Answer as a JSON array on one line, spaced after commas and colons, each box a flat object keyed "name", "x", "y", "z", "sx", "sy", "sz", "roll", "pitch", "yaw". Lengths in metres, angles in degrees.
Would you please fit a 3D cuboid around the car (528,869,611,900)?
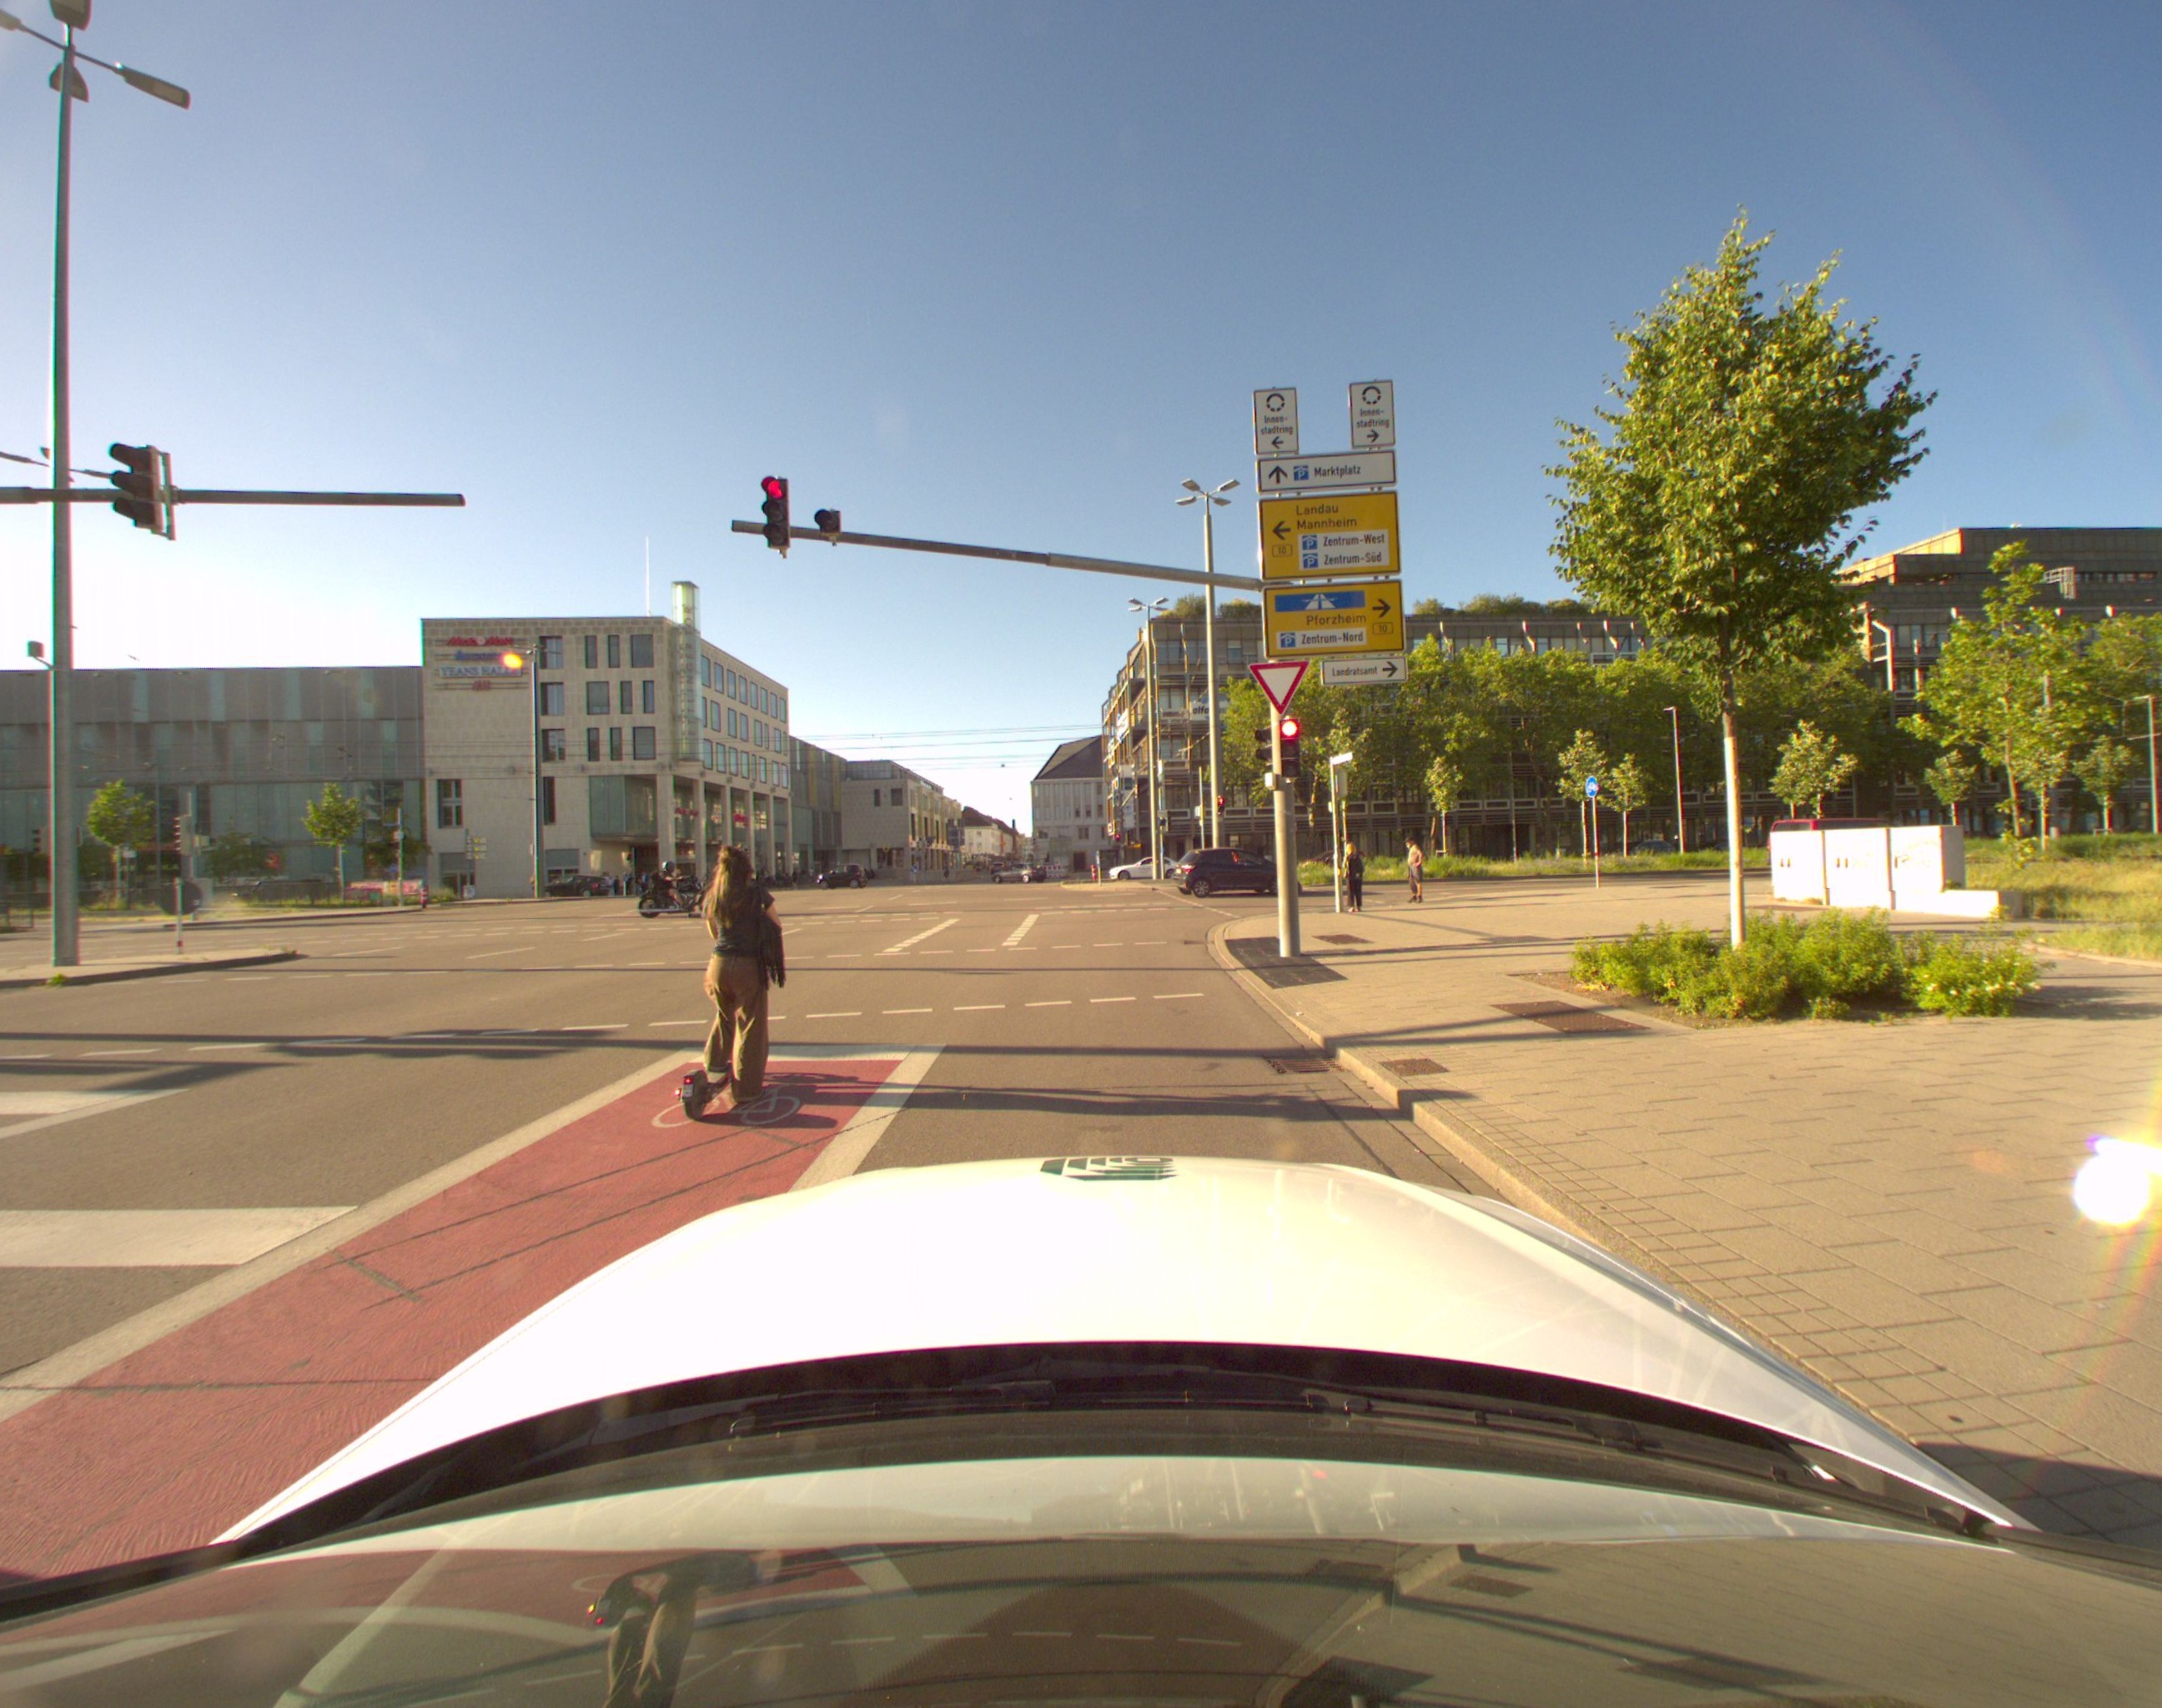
[{"name": "car", "x": -31.514, "y": 1.877, "z": 50.238, "sx": 3.973, "sy": 1.684, "sz": 1.761, "roll": -2, "pitch": 0, "yaw": 0}]

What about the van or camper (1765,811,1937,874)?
[{"name": "van or camper", "x": 27.249, "y": -0.417, "z": 28.882, "sx": 4.830, "sy": 2.013, "sz": 1.999, "roll": -2, "pitch": 0, "yaw": -12}]

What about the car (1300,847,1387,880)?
[{"name": "car", "x": 14.893, "y": 0.516, "z": 46.275, "sx": 4.287, "sy": 1.684, "sz": 1.820, "roll": -2, "pitch": 0, "yaw": -9}]

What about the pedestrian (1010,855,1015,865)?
[{"name": "pedestrian", "x": -13.904, "y": 1.186, "z": 165.264, "sx": 0.907, "sy": 1.965, "sz": 0.823, "roll": 0, "pitch": -1, "yaw": 1}]

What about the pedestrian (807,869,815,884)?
[{"name": "pedestrian", "x": -29.659, "y": 2.472, "z": 89.604, "sx": 0.465, "sy": 1.729, "sz": 0.699, "roll": -1, "pitch": -1, "yaw": 40}]

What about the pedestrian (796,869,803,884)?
[{"name": "pedestrian", "x": -31.708, "y": 2.548, "z": 91.772, "sx": 0.465, "sy": 1.683, "sz": 0.524, "roll": -1, "pitch": -1, "yaw": 40}]

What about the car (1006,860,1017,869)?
[{"name": "car", "x": -12.407, "y": 1.863, "z": 145.473, "sx": 1.652, "sy": 1.458, "sz": 3.543, "roll": -2, "pitch": 0, "yaw": 2}]

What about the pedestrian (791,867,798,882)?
[{"name": "pedestrian", "x": -32.300, "y": 2.331, "z": 91.867, "sx": 0.465, "sy": 1.729, "sz": 0.524, "roll": -1, "pitch": -1, "yaw": 40}]

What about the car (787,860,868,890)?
[{"name": "car", "x": -15.709, "y": 1.301, "z": 50.525, "sx": 4.392, "sy": 1.684, "sz": 1.824, "roll": -2, "pitch": 0, "yaw": -2}]

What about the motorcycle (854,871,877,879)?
[{"name": "motorcycle", "x": -26.113, "y": 2.532, "z": 98.716, "sx": 2.600, "sy": 0.993, "sz": 1.113, "roll": 0, "pitch": -1, "yaw": -8}]

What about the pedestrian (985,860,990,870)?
[{"name": "pedestrian", "x": -18.846, "y": 2.299, "z": 164.249, "sx": 0.907, "sy": 1.964, "sz": 0.823, "roll": -2, "pitch": 0, "yaw": 1}]

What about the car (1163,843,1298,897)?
[{"name": "car", "x": 4.697, "y": 0.476, "z": 25.829, "sx": 3.860, "sy": 1.510, "sz": 1.666, "roll": -2, "pitch": 0, "yaw": -9}]

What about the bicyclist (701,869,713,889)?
[{"name": "bicyclist", "x": -27.687, "y": 1.878, "z": 60.245, "sx": 0.592, "sy": 1.448, "sz": 0.620, "roll": -2, "pitch": 0, "yaw": -44}]

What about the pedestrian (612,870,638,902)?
[{"name": "pedestrian", "x": -25.136, "y": 1.765, "z": 44.912, "sx": 0.821, "sy": 1.675, "sz": 1.004, "roll": -2, "pitch": 0, "yaw": -2}]

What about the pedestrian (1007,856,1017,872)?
[{"name": "pedestrian", "x": -7.693, "y": 1.095, "z": 90.992, "sx": 0.896, "sy": 1.782, "sz": 0.809, "roll": -2, "pitch": 0, "yaw": 1}]

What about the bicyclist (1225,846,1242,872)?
[{"name": "bicyclist", "x": 8.824, "y": 0.306, "z": 47.074, "sx": 0.820, "sy": 1.474, "sz": 0.652, "roll": -2, "pitch": 0, "yaw": -2}]

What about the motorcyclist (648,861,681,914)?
[{"name": "motorcyclist", "x": -11.606, "y": 0.923, "z": 22.700, "sx": 0.658, "sy": 1.423, "sz": 0.645, "roll": -2, "pitch": 1, "yaw": -15}]

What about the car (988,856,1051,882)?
[{"name": "car", "x": -4.254, "y": 1.056, "z": 56.262, "sx": 3.948, "sy": 1.684, "sz": 1.837, "roll": -2, "pitch": 0, "yaw": 33}]

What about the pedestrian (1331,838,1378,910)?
[{"name": "pedestrian", "x": 6.322, "y": 0.452, "z": 18.873, "sx": 0.763, "sy": 1.614, "sz": 0.874, "roll": -2, "pitch": 0, "yaw": 0}]

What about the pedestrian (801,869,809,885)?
[{"name": "pedestrian", "x": -31.287, "y": 2.582, "z": 92.266, "sx": 0.465, "sy": 1.729, "sz": 0.632, "roll": -1, "pitch": -1, "yaw": 30}]

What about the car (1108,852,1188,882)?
[{"name": "car", "x": 4.153, "y": 0.803, "z": 51.005, "sx": 4.830, "sy": 1.684, "sz": 1.825, "roll": -2, "pitch": 0, "yaw": -1}]

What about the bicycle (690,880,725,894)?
[{"name": "bicycle", "x": -27.628, "y": 2.444, "z": 60.289, "sx": 0.629, "sy": 0.903, "sz": 2.231, "roll": -2, "pitch": 0, "yaw": 44}]

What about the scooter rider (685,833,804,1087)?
[{"name": "scooter rider", "x": -2.136, "y": 0.647, "z": 5.211, "sx": 0.552, "sy": 1.530, "sz": 0.448, "roll": -2, "pitch": 0, "yaw": -7}]

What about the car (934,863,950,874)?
[{"name": "car", "x": -20.826, "y": 2.135, "z": 122.202, "sx": 1.652, "sy": 1.458, "sz": 3.543, "roll": -2, "pitch": 0, "yaw": 2}]

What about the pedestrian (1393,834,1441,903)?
[{"name": "pedestrian", "x": 8.675, "y": 0.365, "z": 21.065, "sx": 0.869, "sy": 1.706, "sz": 0.768, "roll": -2, "pitch": 0, "yaw": 0}]

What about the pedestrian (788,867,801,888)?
[{"name": "pedestrian", "x": -22.419, "y": 1.839, "z": 63.731, "sx": 0.773, "sy": 1.638, "sz": 0.627, "roll": -2, "pitch": 0, "yaw": 5}]

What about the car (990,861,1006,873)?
[{"name": "car", "x": -11.019, "y": 1.748, "z": 108.530, "sx": 1.652, "sy": 1.458, "sz": 3.543, "roll": -2, "pitch": 0, "yaw": 2}]

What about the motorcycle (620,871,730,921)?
[{"name": "motorcycle", "x": -11.314, "y": 1.153, "z": 22.784, "sx": 2.599, "sy": 1.208, "sz": 0.726, "roll": -2, "pitch": 1, "yaw": -16}]

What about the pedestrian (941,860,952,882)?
[{"name": "pedestrian", "x": -10.505, "y": 1.317, "z": 63.542, "sx": 0.697, "sy": 1.688, "sz": 0.620, "roll": -2, "pitch": 0, "yaw": 2}]

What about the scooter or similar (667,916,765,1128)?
[{"name": "scooter or similar", "x": -2.201, "y": 0.965, "z": 4.968, "sx": 0.306, "sy": 1.107, "sz": 0.835, "roll": -2, "pitch": 0, "yaw": -9}]

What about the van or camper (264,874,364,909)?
[{"name": "van or camper", "x": -49.478, "y": 2.382, "z": 52.600, "sx": 4.404, "sy": 2.013, "sz": 1.993, "roll": -2, "pitch": 0, "yaw": -3}]

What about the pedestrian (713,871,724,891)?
[{"name": "pedestrian", "x": -30.080, "y": 2.222, "z": 67.575, "sx": 0.590, "sy": 1.646, "sz": 0.629, "roll": -2, "pitch": 0, "yaw": 1}]
